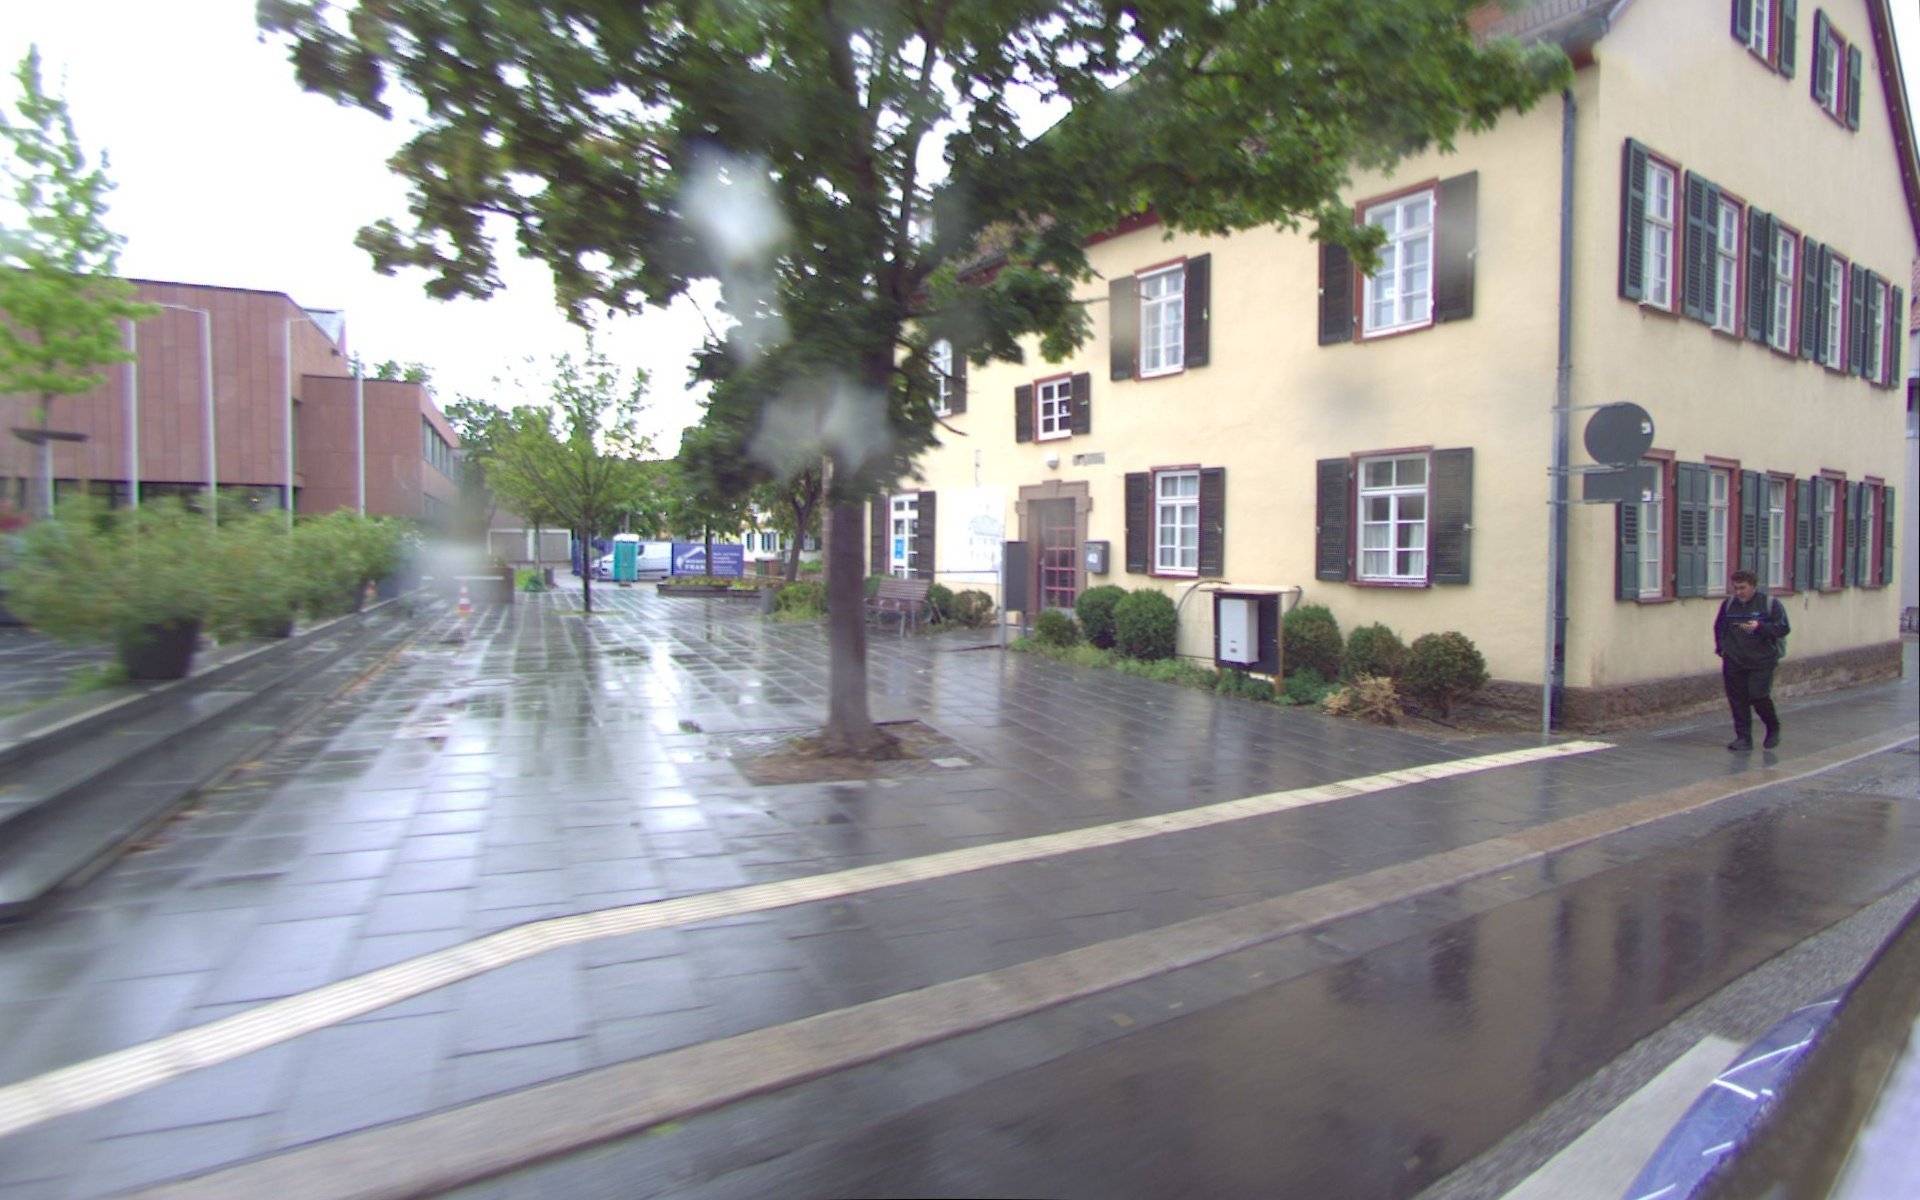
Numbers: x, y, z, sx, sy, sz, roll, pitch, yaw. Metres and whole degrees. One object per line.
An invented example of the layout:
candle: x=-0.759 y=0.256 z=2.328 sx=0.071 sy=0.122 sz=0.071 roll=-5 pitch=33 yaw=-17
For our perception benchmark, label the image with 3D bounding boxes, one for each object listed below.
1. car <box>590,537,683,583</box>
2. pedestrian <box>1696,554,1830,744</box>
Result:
car: x=-16.538 y=-2.056 z=51.704 sx=4.285 sy=2.244 sz=2.005 roll=0 pitch=3 yaw=-24
pedestrian: x=7.660 y=0.432 z=9.666 sx=0.851 sy=1.714 sz=0.717 roll=1 pitch=2 yaw=-34
